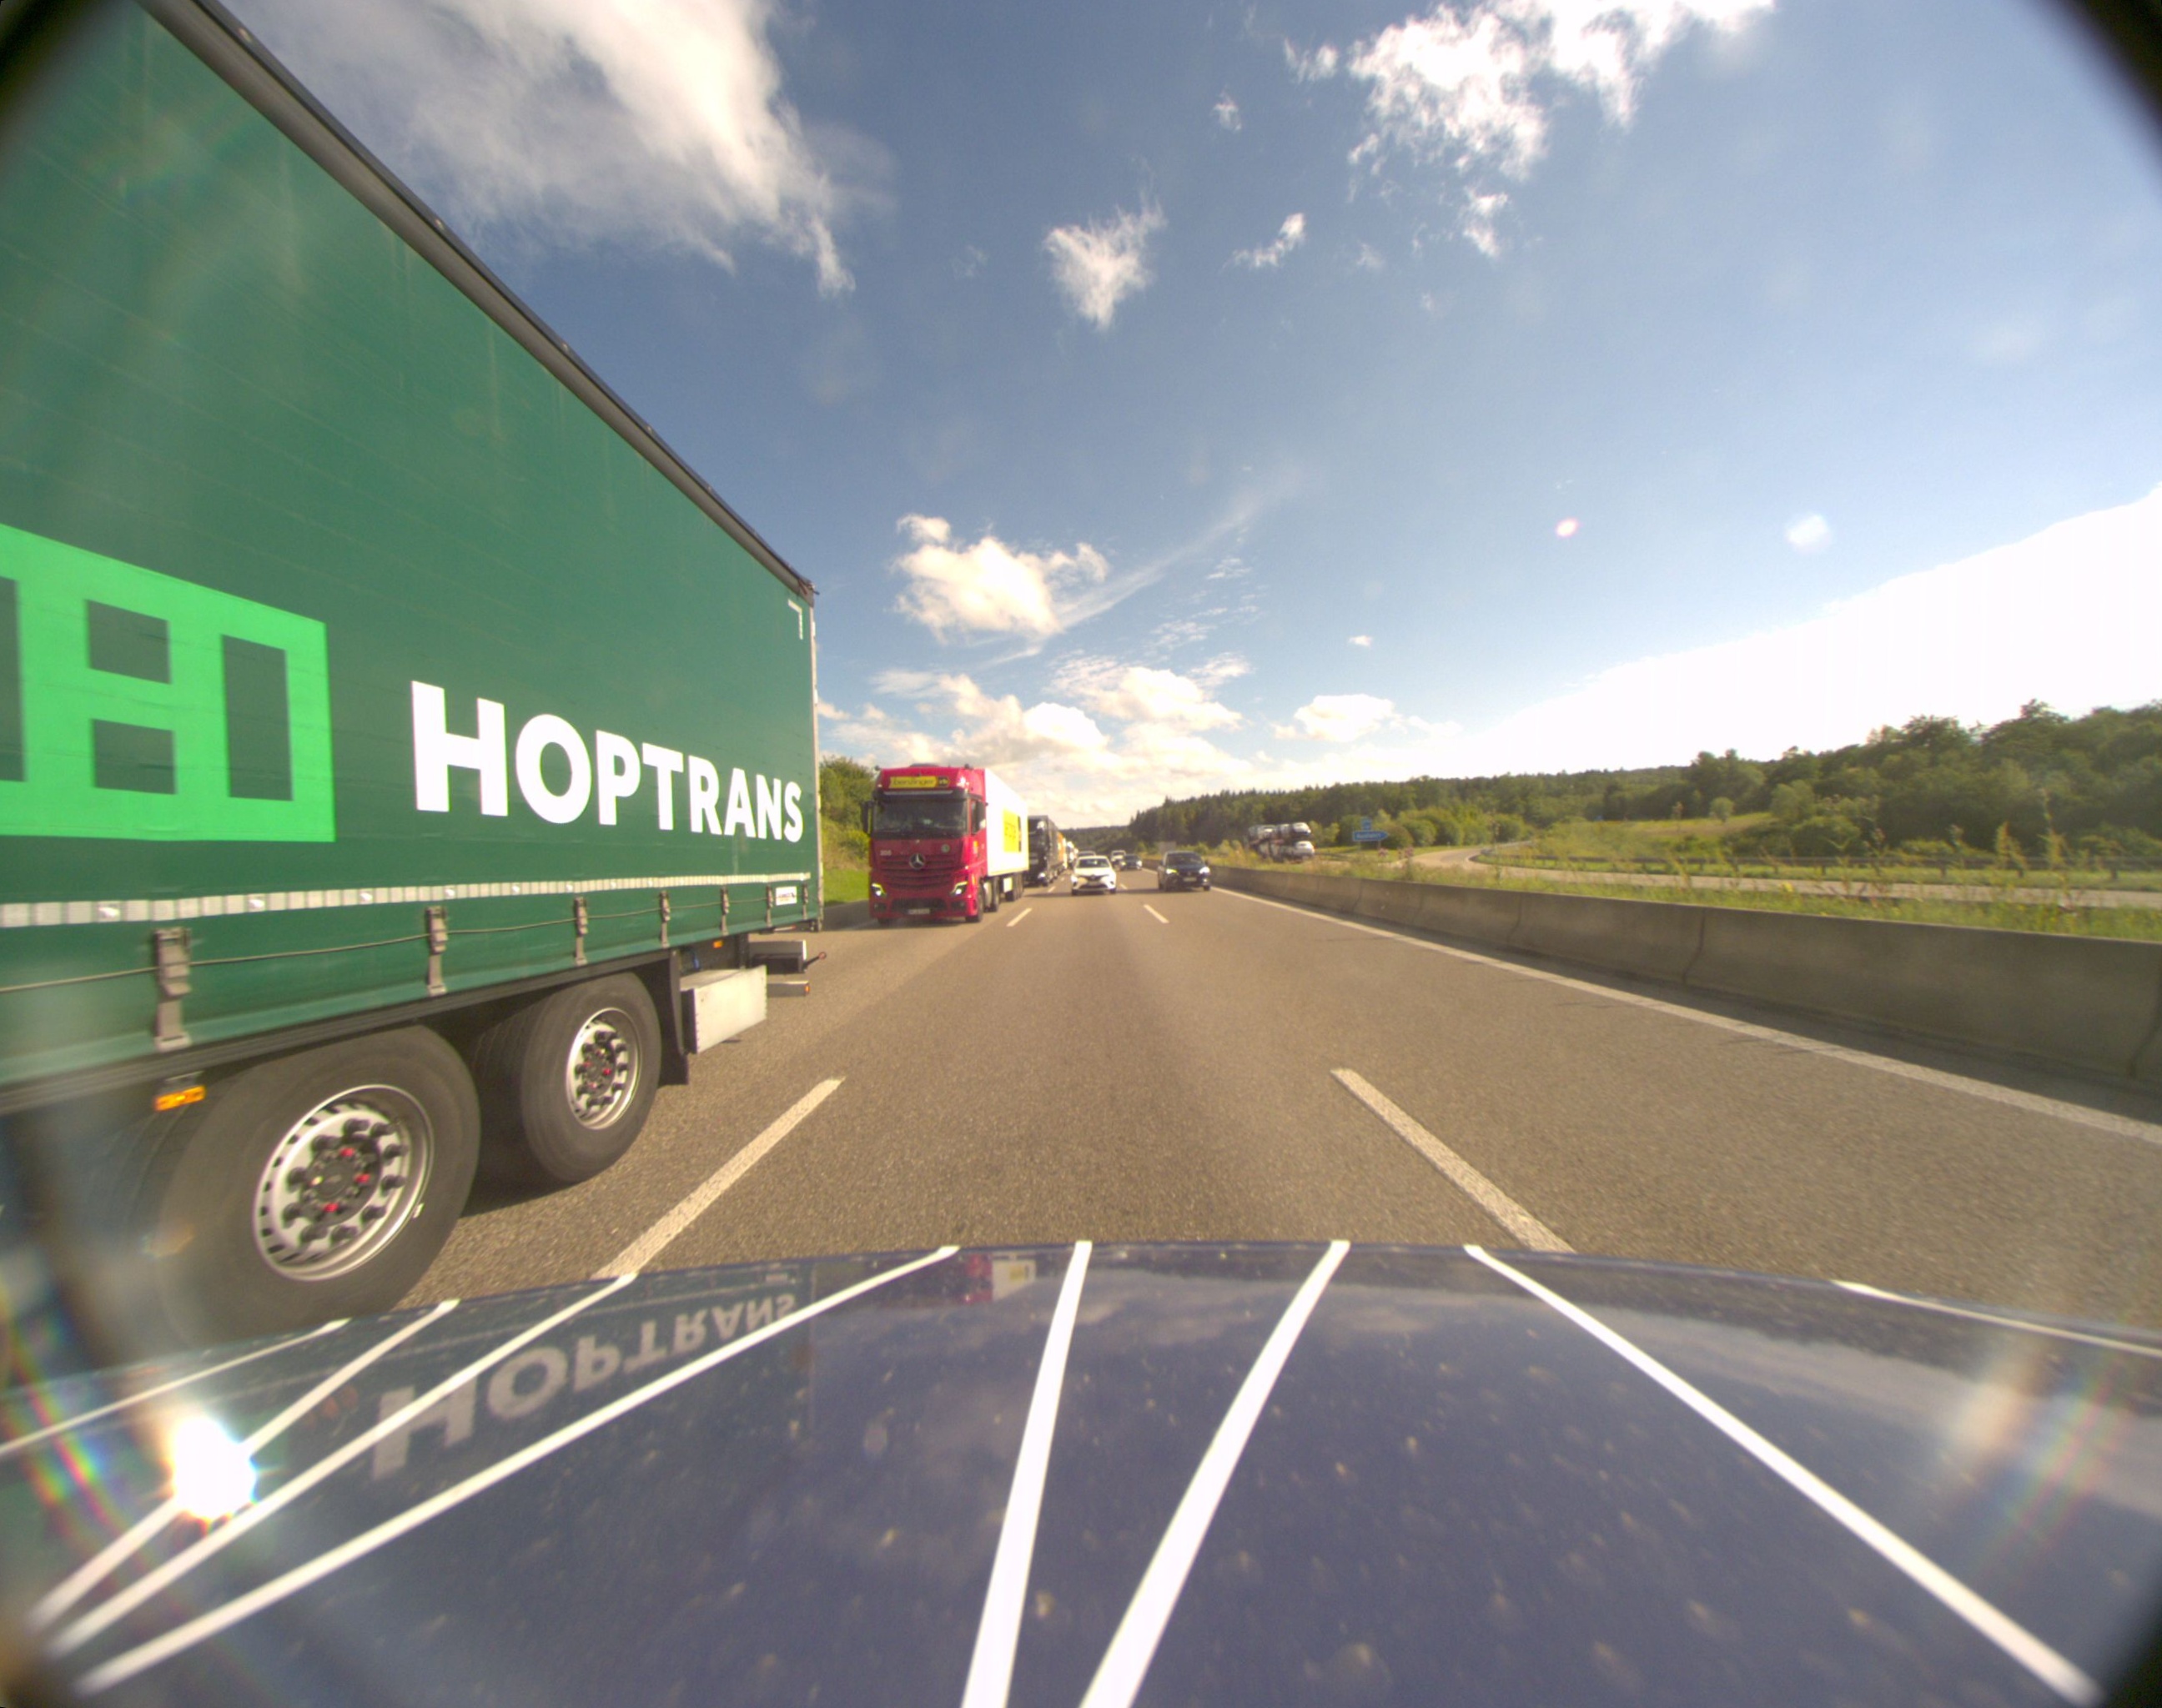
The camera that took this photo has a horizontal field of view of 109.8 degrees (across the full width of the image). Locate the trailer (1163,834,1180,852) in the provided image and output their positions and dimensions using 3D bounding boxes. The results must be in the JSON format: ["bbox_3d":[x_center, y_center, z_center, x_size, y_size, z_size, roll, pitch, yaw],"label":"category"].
[{"bbox_3d":[21.253,-2.601,179.382,2.839,3.969,13.549,-3,1,2],"label":"trailer"}]

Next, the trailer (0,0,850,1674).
[{"bbox_3d":[-3.619,-0.196,0.250,2.668,3.846,13.393,-2,1,1],"label":"trailer"}]

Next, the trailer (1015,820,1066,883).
[{"bbox_3d":[-2.752,-0.178,54.577,2.722,3.937,8.711,-5,0,1],"label":"trailer"}]

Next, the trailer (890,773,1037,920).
[{"bbox_3d":[-3.605,-0.270,27.458,2.798,3.916,13.069,-3,1,1],"label":"trailer"}]

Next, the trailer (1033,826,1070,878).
[{"bbox_3d":[-2.448,-0.172,65.494,2.418,4.045,8.926,-5,0,1],"label":"trailer"}]

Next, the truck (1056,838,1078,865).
[{"bbox_3d":[-2.159,-0.348,120.331,2.655,3.902,6.943,-5,0,2],"label":"truck"}]

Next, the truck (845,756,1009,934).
[{"bbox_3d":[-3.792,-0.231,20.243,2.808,3.916,5.825,-3,1,2],"label":"truck"}]

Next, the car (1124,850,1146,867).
[{"bbox_3d":[4.977,0.428,70.164,1.779,1.451,4.158,-1,1,1],"label":"car"}]

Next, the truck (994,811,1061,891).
[{"bbox_3d":[-2.953,-0.219,45.089,2.747,4.015,10.202,-5,1,1],"label":"truck"}]

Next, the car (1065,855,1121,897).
[{"bbox_3d":[0.557,0.846,31.404,2.026,1.511,5.299,-2,0,2],"label":"car"}]

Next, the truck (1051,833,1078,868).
[{"bbox_3d":[-2.058,-0.511,96.024,2.654,4.066,6.491,-5,1,2],"label":"truck"}]

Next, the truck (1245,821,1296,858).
[{"bbox_3d":[20.236,-1.520,81.922,2.838,3.667,11.131,-2,1,1],"label":"truck"}]

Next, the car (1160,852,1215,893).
[{"bbox_3d":[4.345,0.716,31.625,1.779,1.533,4.158,-1,1,1],"label":"car"}]

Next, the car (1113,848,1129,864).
[{"bbox_3d":[4.973,0.246,95.204,1.779,1.923,4.214,-1,0,1],"label":"car"}]

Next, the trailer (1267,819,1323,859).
[{"bbox_3d":[20.106,-1.364,71.858,2.806,3.508,8.953,-2,1,1],"label":"trailer"}]

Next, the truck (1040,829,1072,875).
[{"bbox_3d":[-2.385,-0.213,74.824,2.418,4.045,9.664,-5,0,1],"label":"truck"}]
